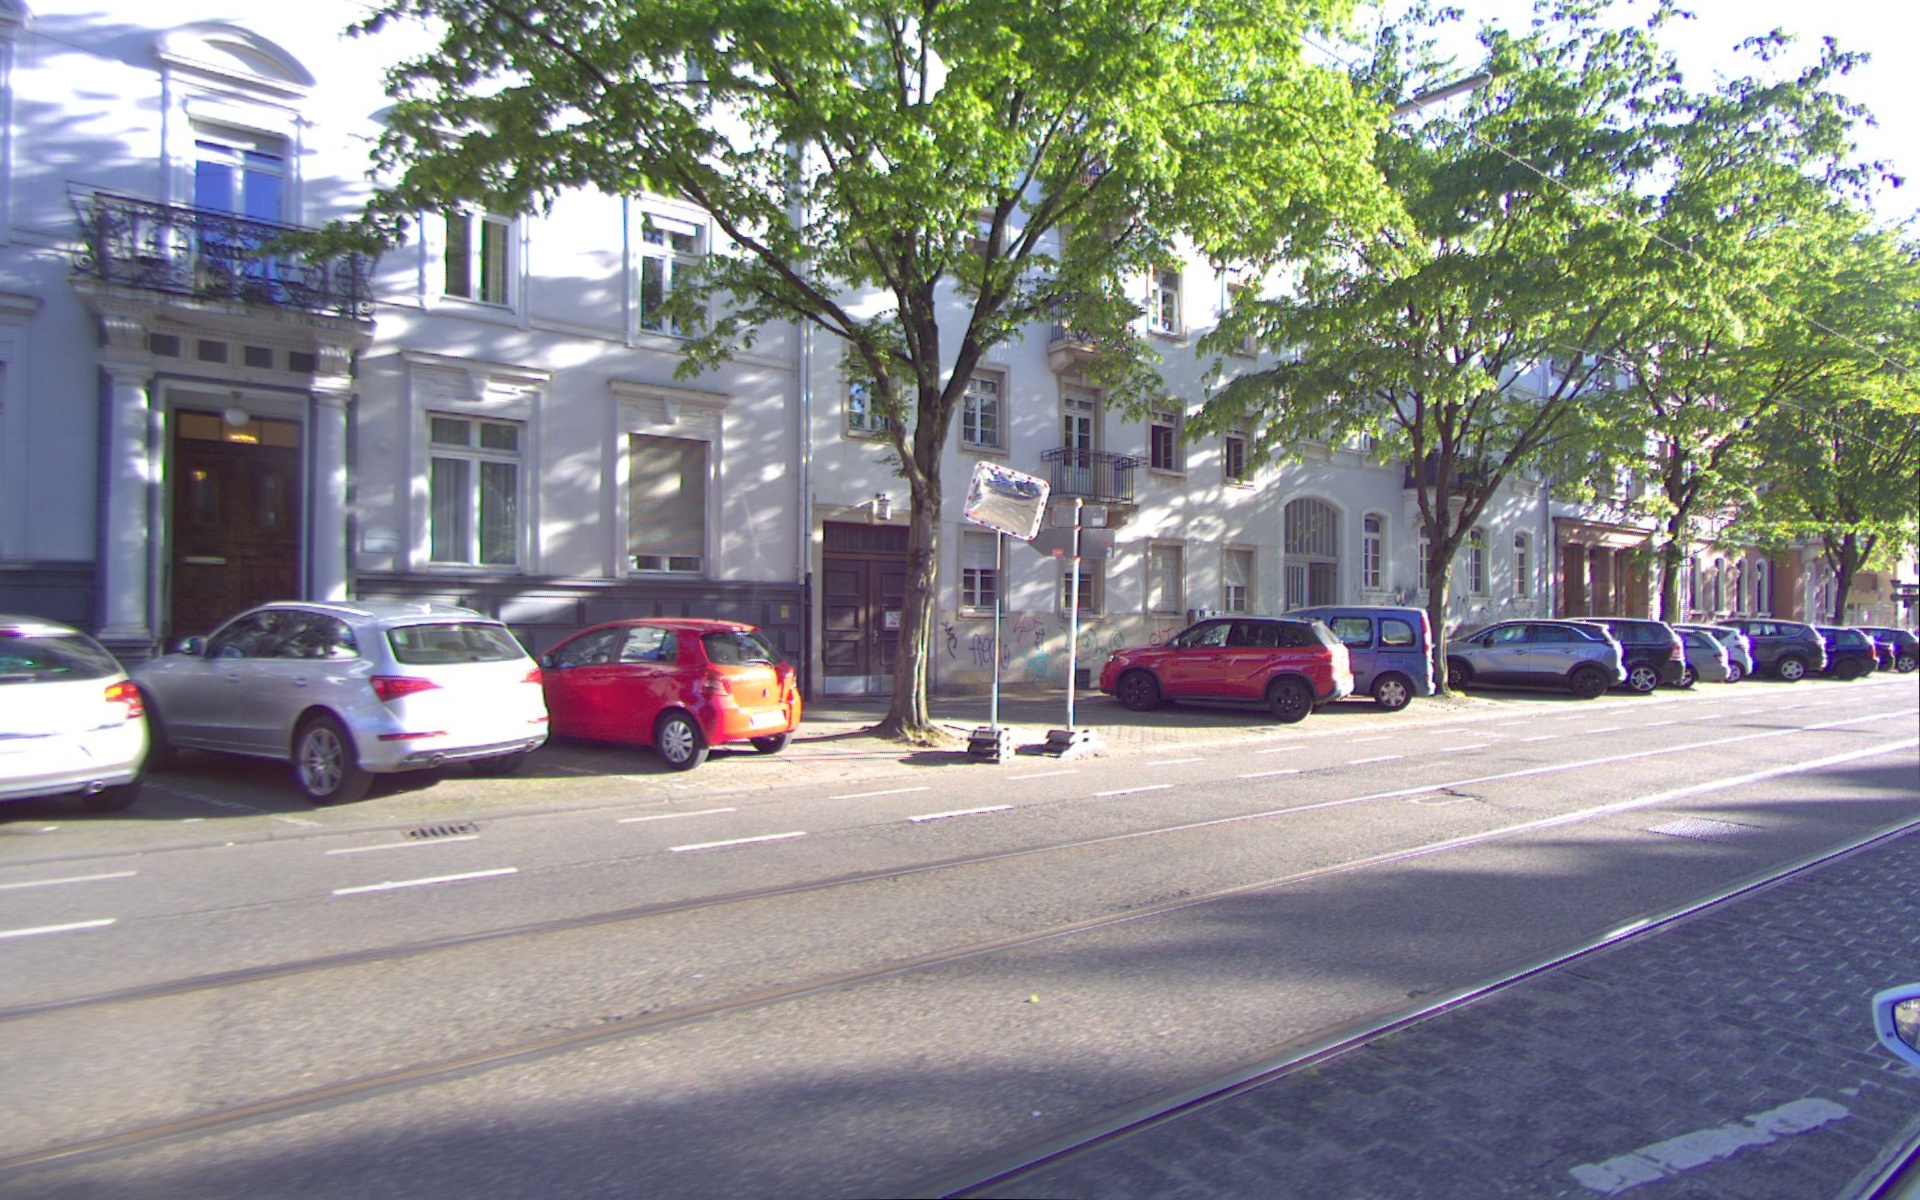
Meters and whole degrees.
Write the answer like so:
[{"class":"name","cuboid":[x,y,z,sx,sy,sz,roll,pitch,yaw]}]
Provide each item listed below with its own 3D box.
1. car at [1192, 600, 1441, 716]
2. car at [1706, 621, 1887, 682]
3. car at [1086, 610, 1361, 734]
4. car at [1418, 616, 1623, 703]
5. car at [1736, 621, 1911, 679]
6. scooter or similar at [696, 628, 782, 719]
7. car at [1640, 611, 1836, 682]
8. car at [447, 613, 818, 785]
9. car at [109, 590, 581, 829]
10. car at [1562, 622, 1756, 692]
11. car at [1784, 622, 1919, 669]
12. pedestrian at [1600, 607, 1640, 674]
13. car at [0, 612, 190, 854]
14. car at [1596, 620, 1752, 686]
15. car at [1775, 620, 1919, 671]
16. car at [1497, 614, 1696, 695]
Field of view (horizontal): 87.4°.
[{"class":"car","cuboid":[6.650,1.007,18.798,4.124,1.822,1.783,2,0,28]},{"class":"car","cuboid":[25.677,1.546,30.995,3.908,1.638,1.634,2,1,21]},{"class":"car","cuboid":[4.366,1.099,16.776,4.124,1.659,1.740,2,2,28]},{"class":"car","cuboid":[12.332,1.262,22.329,3.799,1.676,1.771,1,-1,27]},{"class":"car","cuboid":[27.897,1.580,32.602,3.908,1.638,1.634,2,1,21]},{"class":"scooter or similar","cuboid":[-3.463,1.127,15.787,1.270,1.375,0.398,1,-1,-30]},{"class":"car","cuboid":[22.754,1.328,29.588,4.205,1.745,1.706,3,0,25]},{"class":"car","cuboid":[-3.814,0.995,11.574,4.124,1.579,1.638,1,0,28]},{"class":"car","cuboid":[-5.865,0.868,9.564,4.121,1.747,1.783,2,0,24]},{"class":"car","cuboid":[17.428,1.381,25.287,3.751,1.505,1.769,2,0,27]},{"class":"car","cuboid":[33.844,1.700,37.891,3.839,1.542,1.735,2,1,20]},{"class":"pedestrian","cuboid":[17.858,1.095,27.181,0.803,1.778,0.756,1,-2,-45]},{"class":"car","cuboid":[-8.099,0.896,7.792,3.693,1.540,1.748,2,0,23]},{"class":"car","cuboid":[19.847,1.431,28.073,3.218,1.553,1.706,3,1,25]},{"class":"car","cuboid":[31.710,1.588,35.755,3.848,1.528,1.688,2,1,25]},{"class":"car","cuboid":[14.889,1.234,23.775,3.799,1.676,1.771,1,-1,28]}]
